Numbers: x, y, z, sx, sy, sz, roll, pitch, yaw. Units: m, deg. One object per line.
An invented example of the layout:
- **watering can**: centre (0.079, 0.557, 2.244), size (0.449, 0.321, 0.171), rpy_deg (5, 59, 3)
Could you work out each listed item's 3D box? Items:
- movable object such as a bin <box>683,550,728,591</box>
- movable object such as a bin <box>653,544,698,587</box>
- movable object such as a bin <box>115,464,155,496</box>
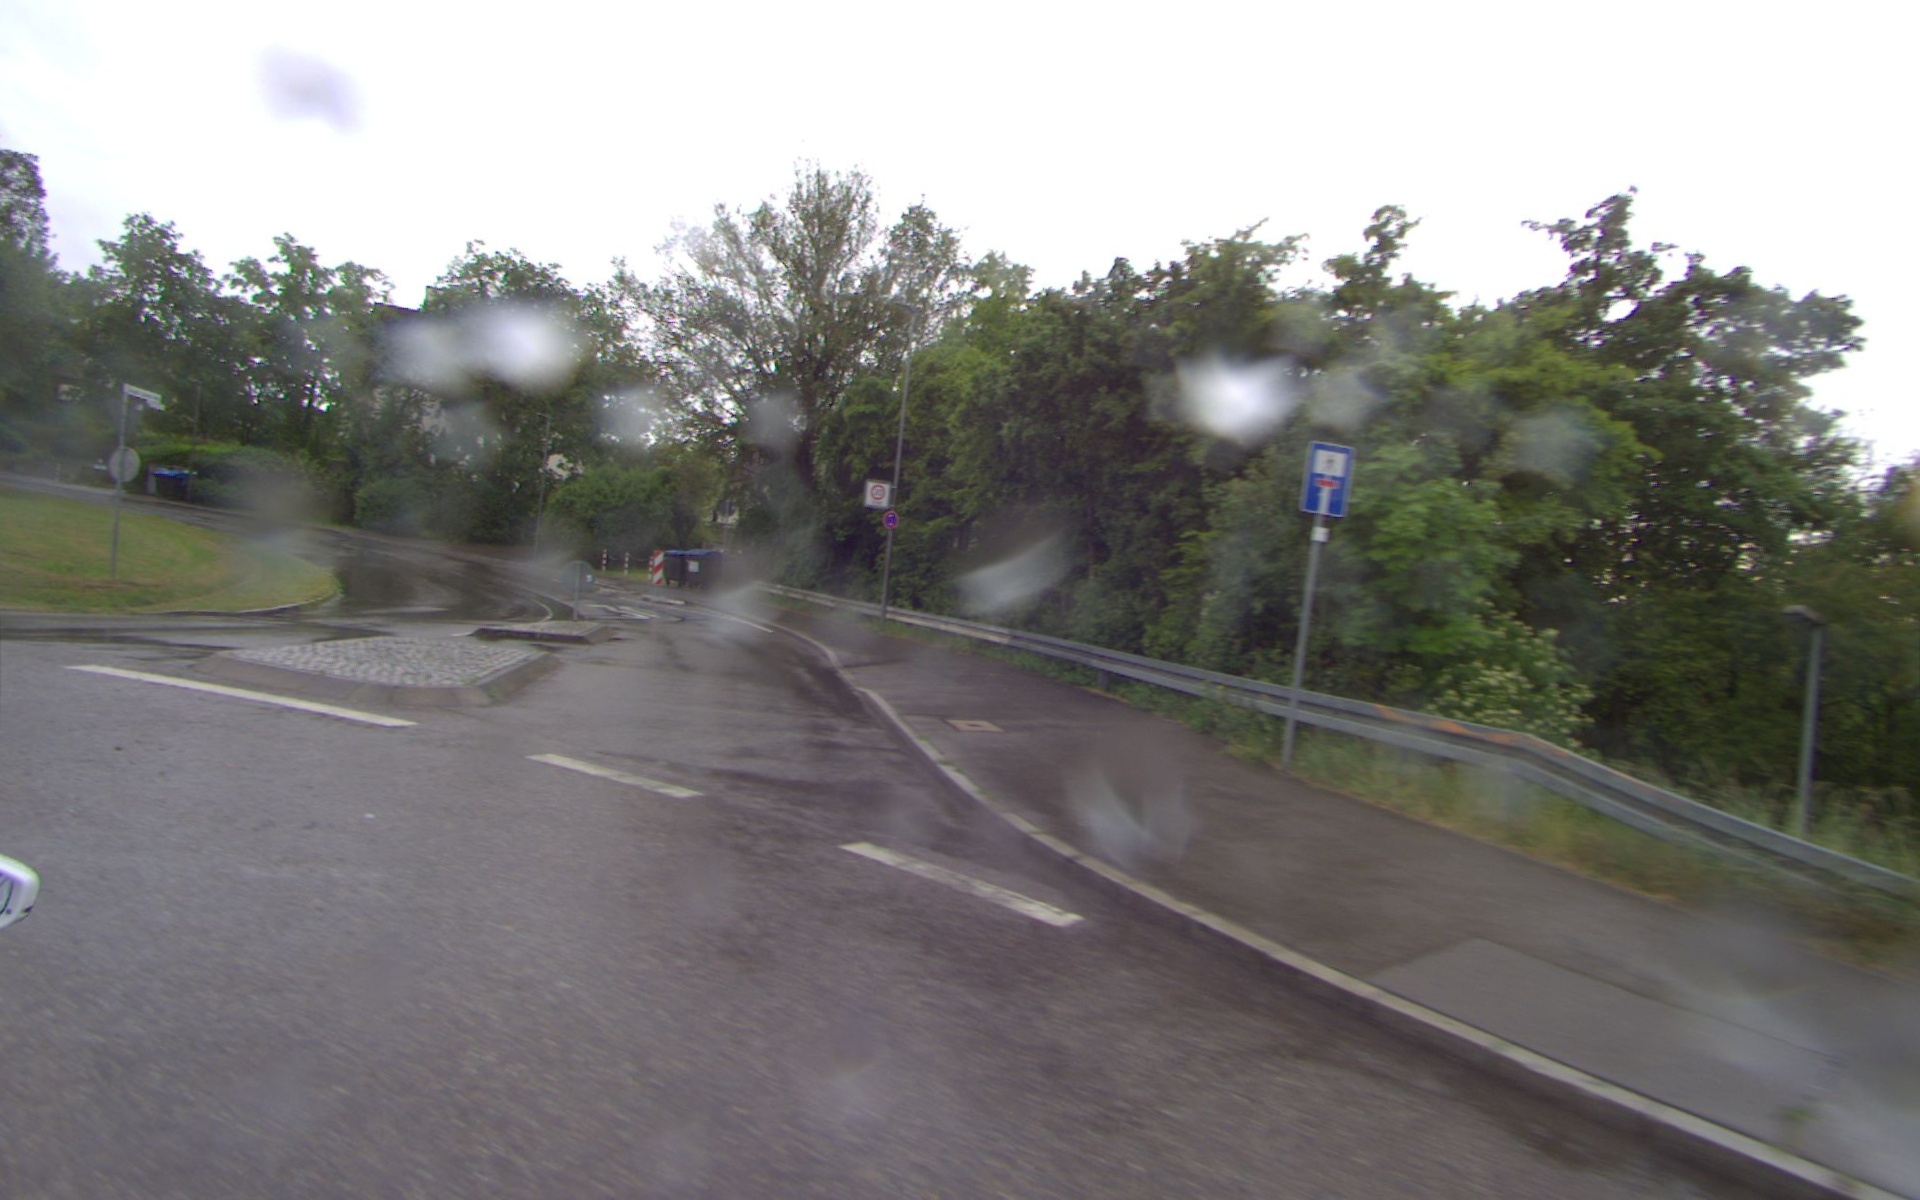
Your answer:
- **movable object such as a bin**: centre (-9.331, -1.082, 36.906), size (1.187, 1.361, 1.062), rpy_deg (2, 5, -41)
- **movable object such as a bin**: centre (-10.645, -1.291, 37.629), size (1.189, 1.456, 1.062), rpy_deg (5, 2, -41)
- **movable object such as a bin**: centre (-42.980, -6.255, 52.421), size (1.405, 1.455, 1.194), rpy_deg (8, 2, 33)
